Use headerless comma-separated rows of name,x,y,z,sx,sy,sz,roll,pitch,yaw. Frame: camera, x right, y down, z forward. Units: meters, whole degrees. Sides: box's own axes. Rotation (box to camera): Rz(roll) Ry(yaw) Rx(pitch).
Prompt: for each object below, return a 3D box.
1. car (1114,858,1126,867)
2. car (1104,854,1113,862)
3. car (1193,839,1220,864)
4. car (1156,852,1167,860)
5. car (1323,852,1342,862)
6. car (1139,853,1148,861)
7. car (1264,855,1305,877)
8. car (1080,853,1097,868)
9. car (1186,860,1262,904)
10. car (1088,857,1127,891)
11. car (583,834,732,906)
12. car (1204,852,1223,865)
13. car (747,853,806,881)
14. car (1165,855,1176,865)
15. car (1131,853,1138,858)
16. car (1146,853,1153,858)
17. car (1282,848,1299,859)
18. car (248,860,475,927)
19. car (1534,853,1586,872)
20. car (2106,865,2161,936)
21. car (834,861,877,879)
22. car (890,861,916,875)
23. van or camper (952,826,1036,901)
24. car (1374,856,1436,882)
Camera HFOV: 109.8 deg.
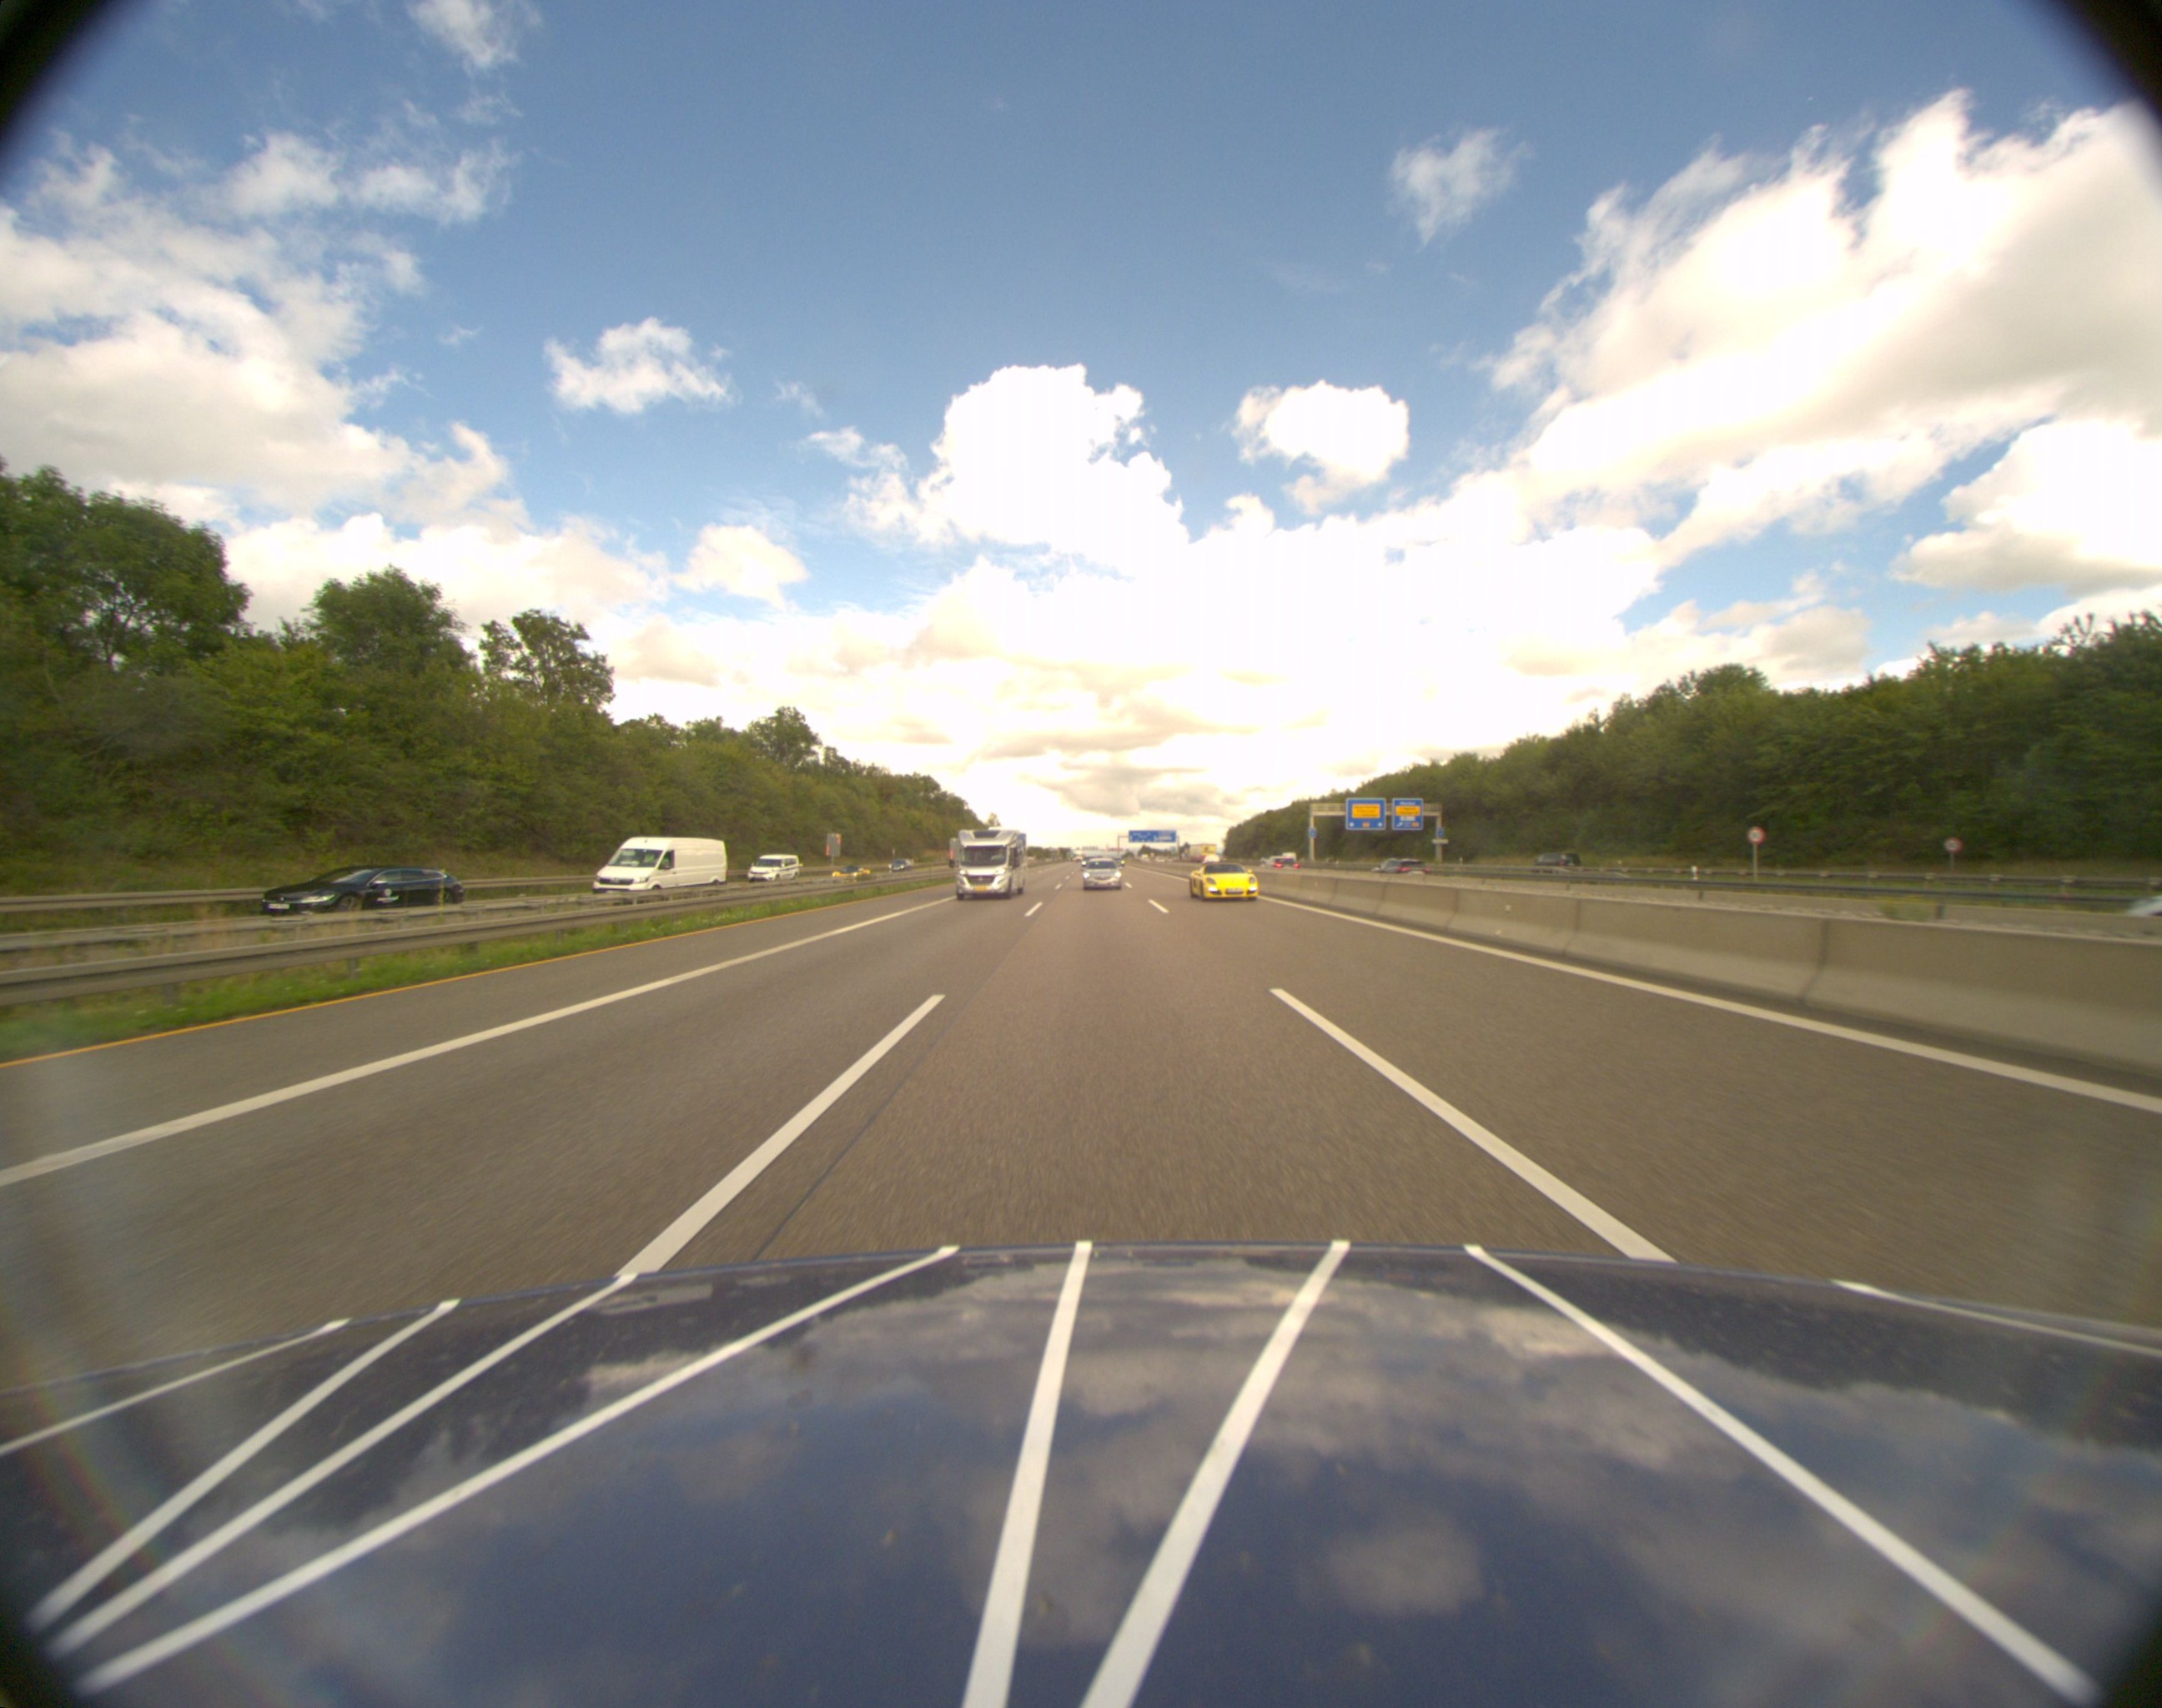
car,5.750,1.240,113.365,1.593,1.307,3.978,1,0,0
car,6.971,1.102,192.941,1.998,2.002,4.589,0,0,1
car,22.996,-0.385,139.994,2.913,4.300,14.145,0,0,1
car,15.212,0.362,144.216,1.670,1.393,4.534,0,0,1
car,43.314,0.444,130.865,1.851,1.652,4.419,0,0,1
car,15.987,0.649,193.642,1.998,2.002,4.436,-1,0,1
car,13.574,0.792,50.845,1.761,1.394,4.074,-1,0,1
car,0.864,0.692,87.697,1.876,1.626,4.859,-1,0,1
car,4.790,0.904,26.074,1.811,1.307,4.247,1,0,0
car,1.228,0.903,36.489,1.687,1.476,4.616,-1,0,0
car,-16.462,0.581,30.132,2.075,2.539,6.743,0,0,1
car,18.170,0.579,104.489,1.738,1.784,5.124,-1,0,0
car,-19.762,0.806,49.536,1.848,1.741,4.764,-1,0,1
car,19.039,1.220,162.072,1.757,2.002,4.553,-2,0,1
car,16.881,0.528,241.057,1.776,1.601,4.465,-1,0,1
car,20.509,0.471,226.561,1.775,1.287,4.675,-1,0,1
car,43.824,-0.036,159.160,1.998,2.221,5.891,0,0,2
car,-19.885,1.008,21.373,1.848,1.593,4.764,1,0,0
car,41.880,0.720,66.532,1.886,1.652,4.419,0,0,1
car,19.073,0.789,11.469,1.659,1.186,4.130,-1,0,0
car,-15.678,1.102,53.019,1.716,1.175,4.169,-1,0,0
car,-19.193,1.453,81.992,1.716,1.407,4.169,0,0,1
van or camper,-3.467,0.335,31.989,2.475,2.706,7.661,-2,0,1
car,17.271,0.786,40.673,1.584,1.276,4.241,-1,0,1
